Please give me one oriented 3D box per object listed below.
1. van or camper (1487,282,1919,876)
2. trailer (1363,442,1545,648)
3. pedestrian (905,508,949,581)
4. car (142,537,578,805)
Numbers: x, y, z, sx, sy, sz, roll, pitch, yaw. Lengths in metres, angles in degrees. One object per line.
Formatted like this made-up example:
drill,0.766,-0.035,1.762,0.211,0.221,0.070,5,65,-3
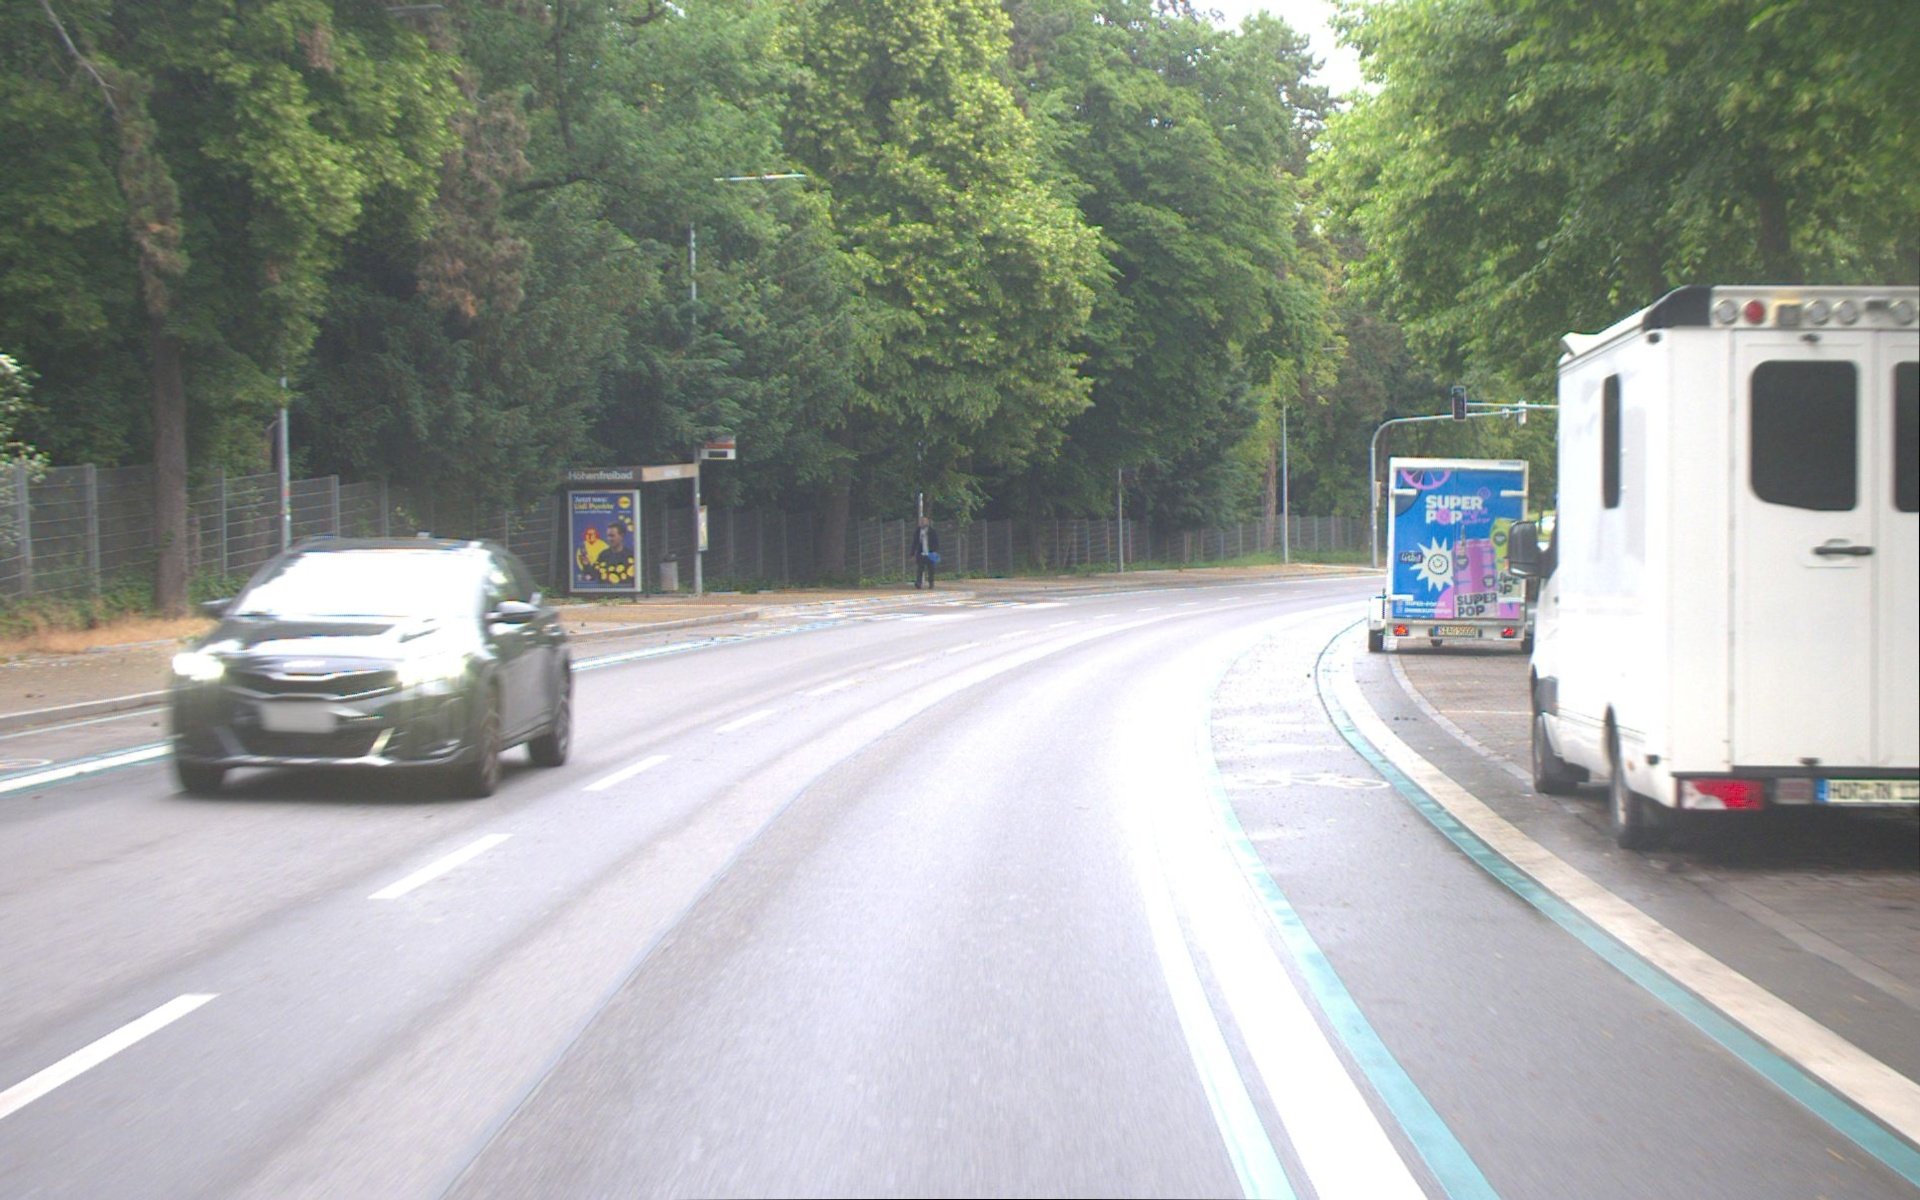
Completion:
van or camper,4.308,-0.164,18.611,2.317,2.655,6.381,1,1,4
trailer,6.761,-0.776,47.545,2.317,2.663,5.375,1,1,7
pedestrian,-0.785,-1.324,81.662,0.887,1.727,1.146,1,1,7
car,-3.518,0.347,20.892,1.760,1.432,4.151,0,1,2
